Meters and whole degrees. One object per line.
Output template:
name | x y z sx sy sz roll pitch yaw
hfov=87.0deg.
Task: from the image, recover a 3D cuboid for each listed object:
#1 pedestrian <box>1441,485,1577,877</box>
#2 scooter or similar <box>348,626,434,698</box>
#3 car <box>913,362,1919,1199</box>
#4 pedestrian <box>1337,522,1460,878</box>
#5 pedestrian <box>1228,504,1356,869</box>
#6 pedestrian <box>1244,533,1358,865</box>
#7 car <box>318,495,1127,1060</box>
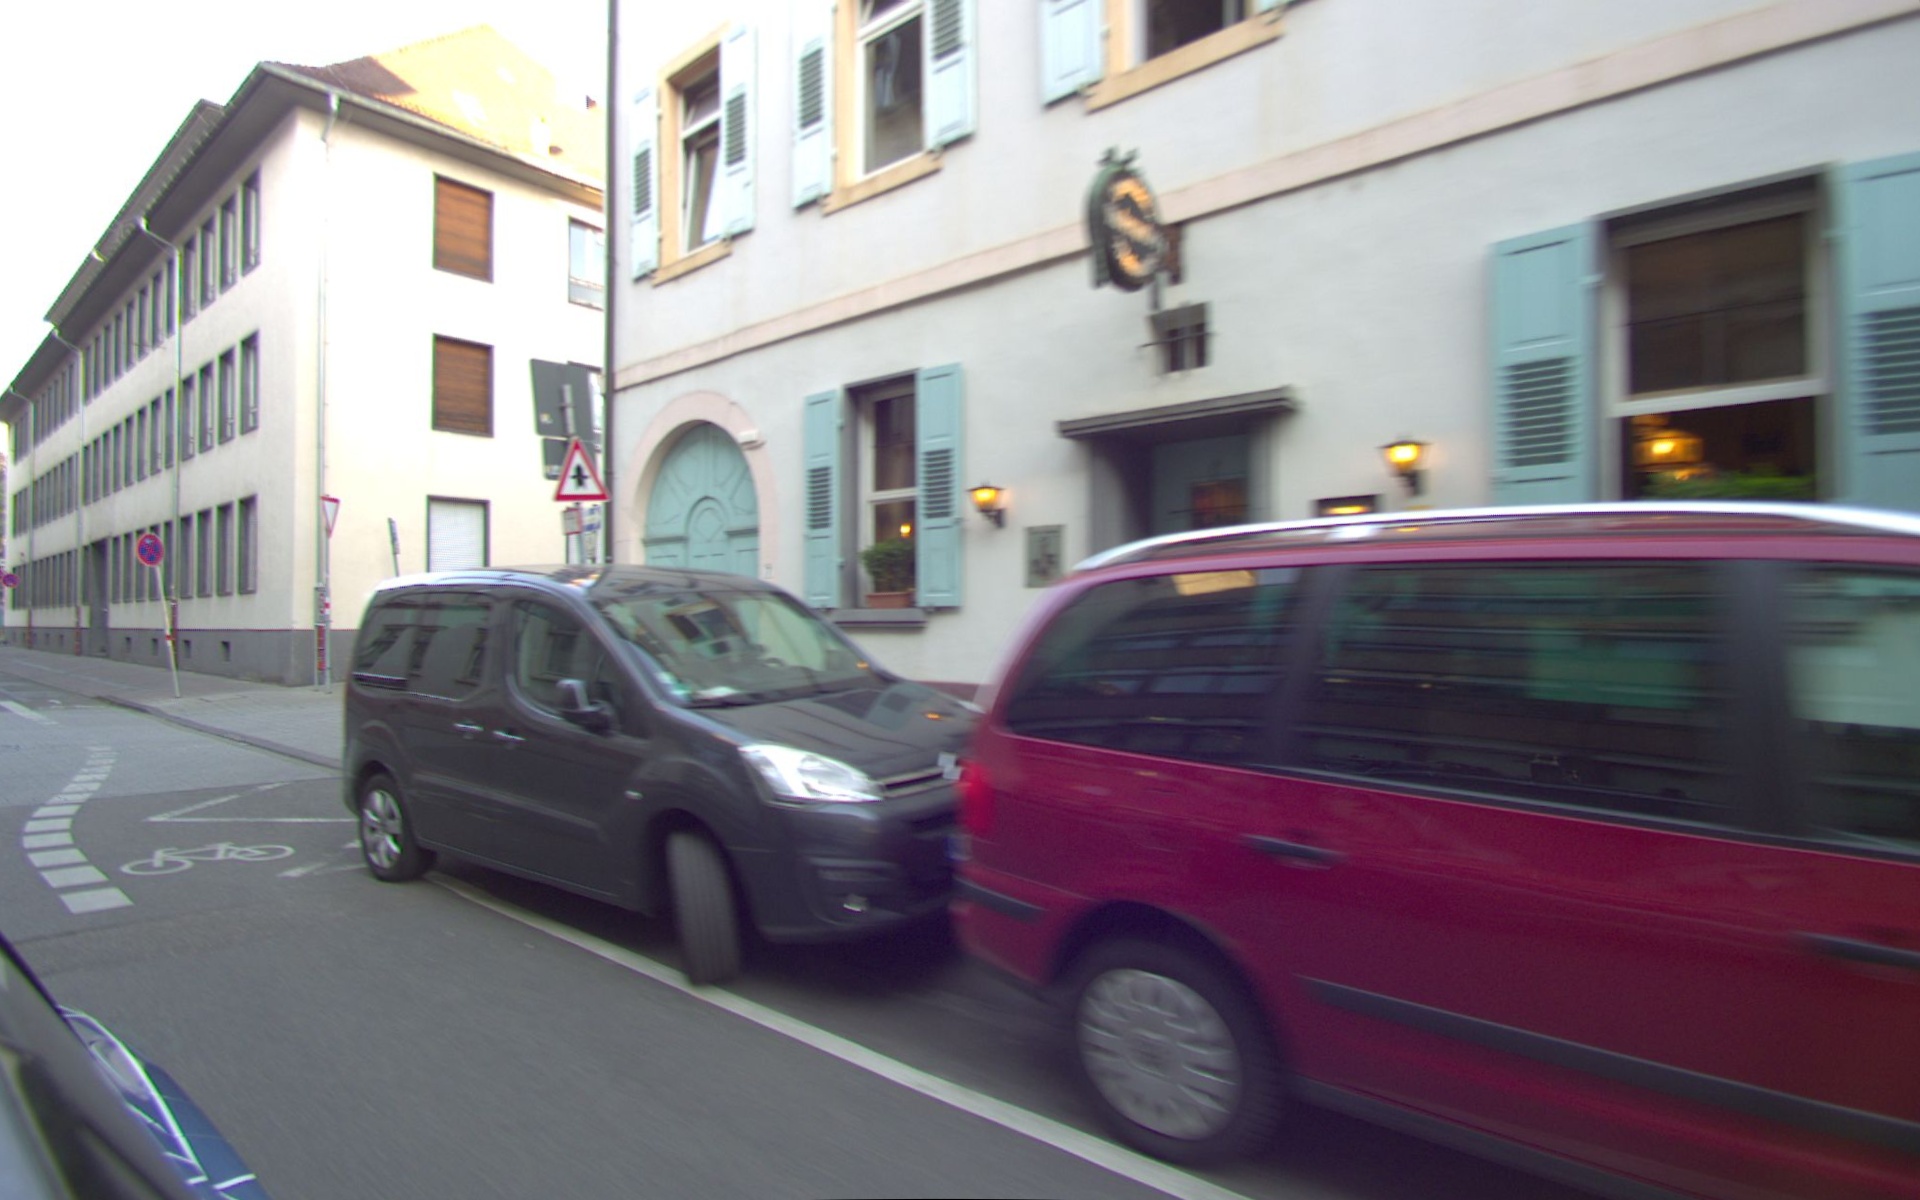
pedestrian | 2.641 0.368 4.870 0.470 1.763 0.402 -1 -2 43
scooter or similar | -10.405 1.112 18.557 0.528 1.210 1.358 -1 2 17
car | 2.138 0.522 2.350 4.507 1.825 1.754 -1 -1 40
pedestrian | 2.314 0.499 5.340 0.470 1.763 0.402 -1 -2 43
pedestrian | 1.708 0.420 5.211 0.470 1.763 0.444 -1 -2 43
pedestrian | 1.919 0.530 5.693 0.470 1.763 0.402 -1 -2 43
car | -1.533 0.612 5.398 4.445 1.825 1.859 -1 -1 38
